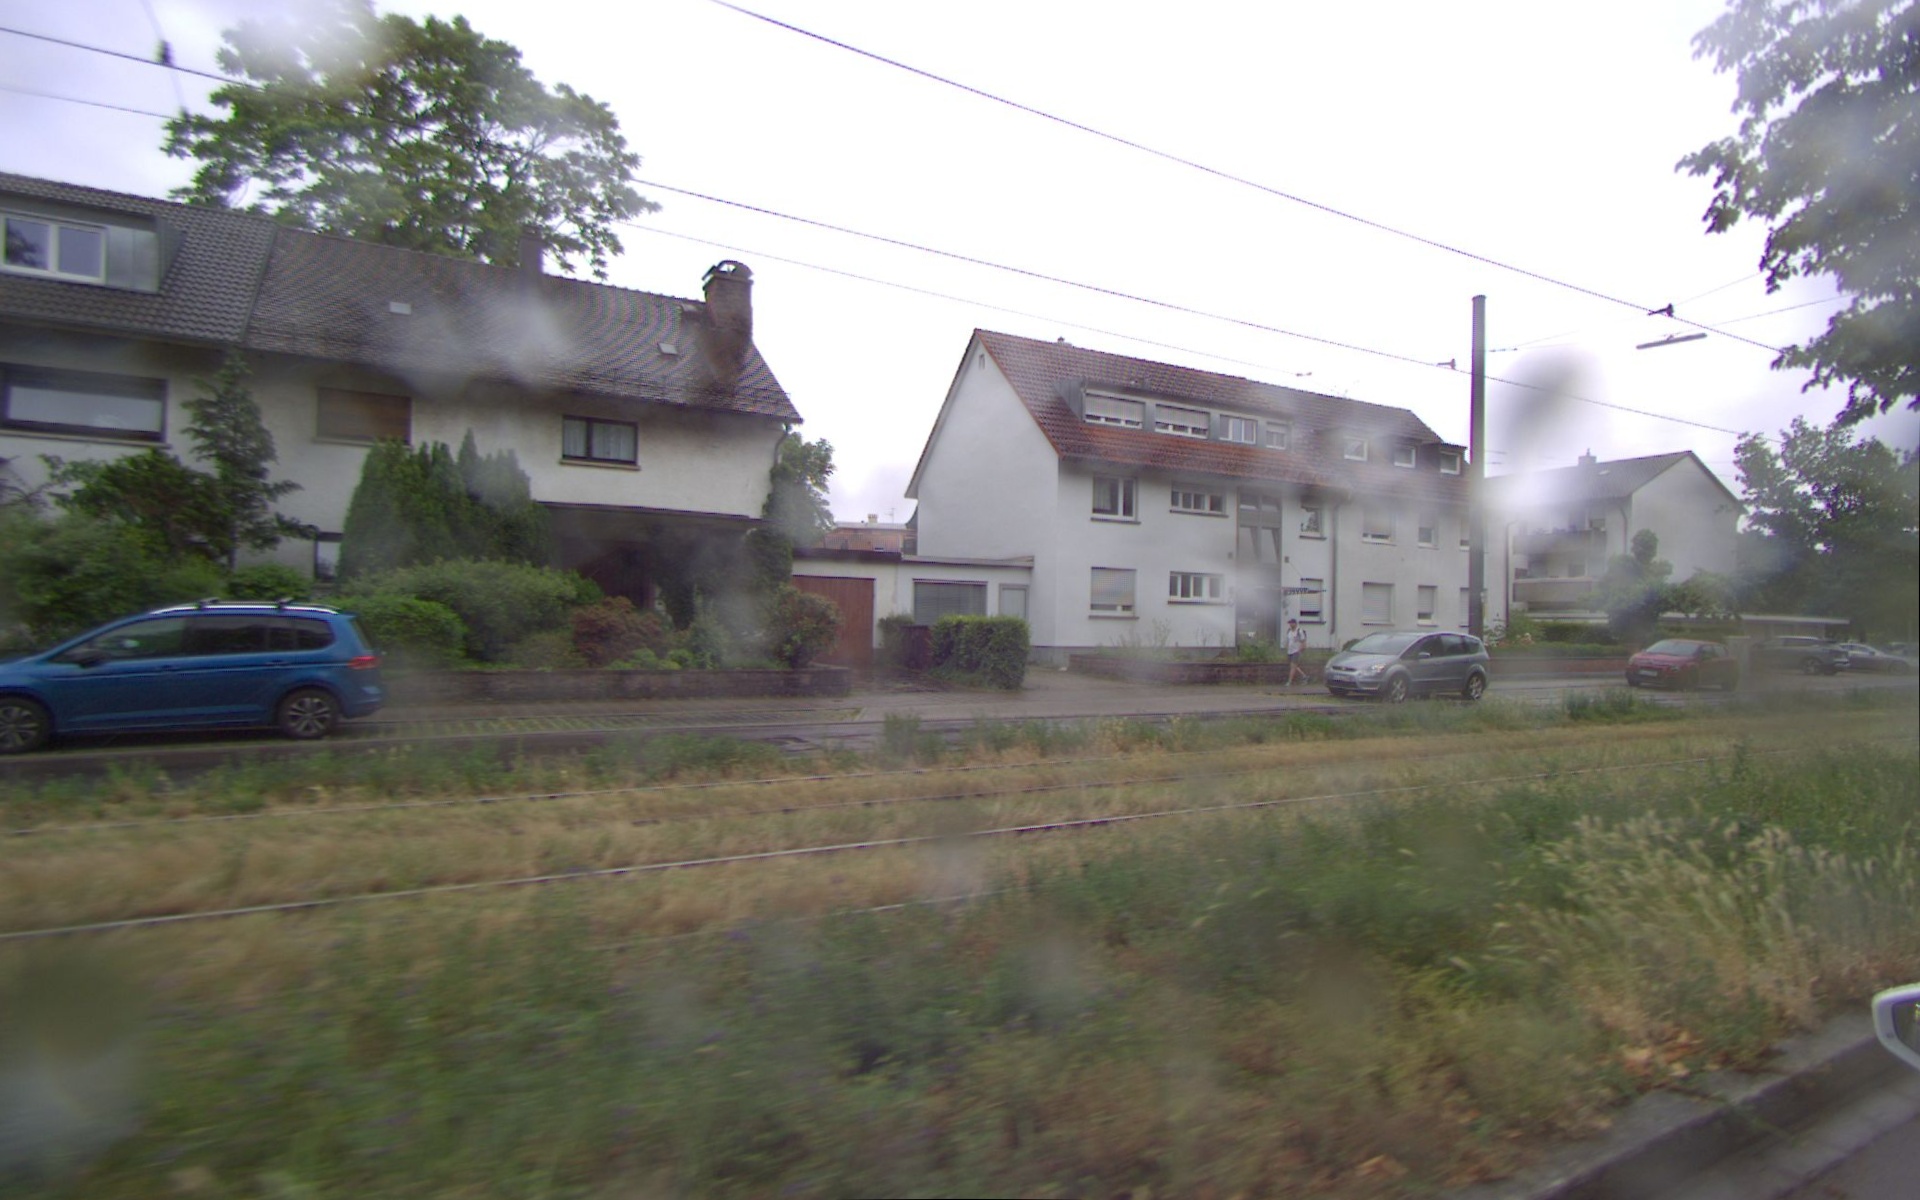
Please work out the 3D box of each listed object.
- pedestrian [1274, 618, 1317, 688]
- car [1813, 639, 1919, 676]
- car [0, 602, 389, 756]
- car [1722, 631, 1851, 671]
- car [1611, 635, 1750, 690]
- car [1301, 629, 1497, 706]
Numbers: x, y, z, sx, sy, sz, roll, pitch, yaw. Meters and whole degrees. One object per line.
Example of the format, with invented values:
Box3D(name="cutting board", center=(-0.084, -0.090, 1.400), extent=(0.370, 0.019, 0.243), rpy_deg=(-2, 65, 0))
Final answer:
Box3D(name="pedestrian", center=(8.736, 1.379, 26.166), extent=(0.844, 1.778, 0.698), rpy_deg=(2, -2, -30))
Box3D(name="car", center=(43.367, 2.706, 47.720), extent=(1.978, 1.638, 3.966), rpy_deg=(2, -2, -32))
Box3D(name="car", center=(-9.714, 0.901, 12.637), extent=(4.362, 1.635, 1.983), rpy_deg=(1, 1, -31))
Box3D(name="car", center=(36.130, 2.207, 44.000), extent=(1.978, 1.638, 3.966), rpy_deg=(2, -2, -32))
Box3D(name="car", center=(22.318, 1.879, 31.100), extent=(4.157, 1.508, 1.983), rpy_deg=(1, 1, -31))
Box3D(name="car", center=(10.578, 1.562, 24.152), extent=(4.461, 1.602, 1.985), rpy_deg=(1, 1, -28))
